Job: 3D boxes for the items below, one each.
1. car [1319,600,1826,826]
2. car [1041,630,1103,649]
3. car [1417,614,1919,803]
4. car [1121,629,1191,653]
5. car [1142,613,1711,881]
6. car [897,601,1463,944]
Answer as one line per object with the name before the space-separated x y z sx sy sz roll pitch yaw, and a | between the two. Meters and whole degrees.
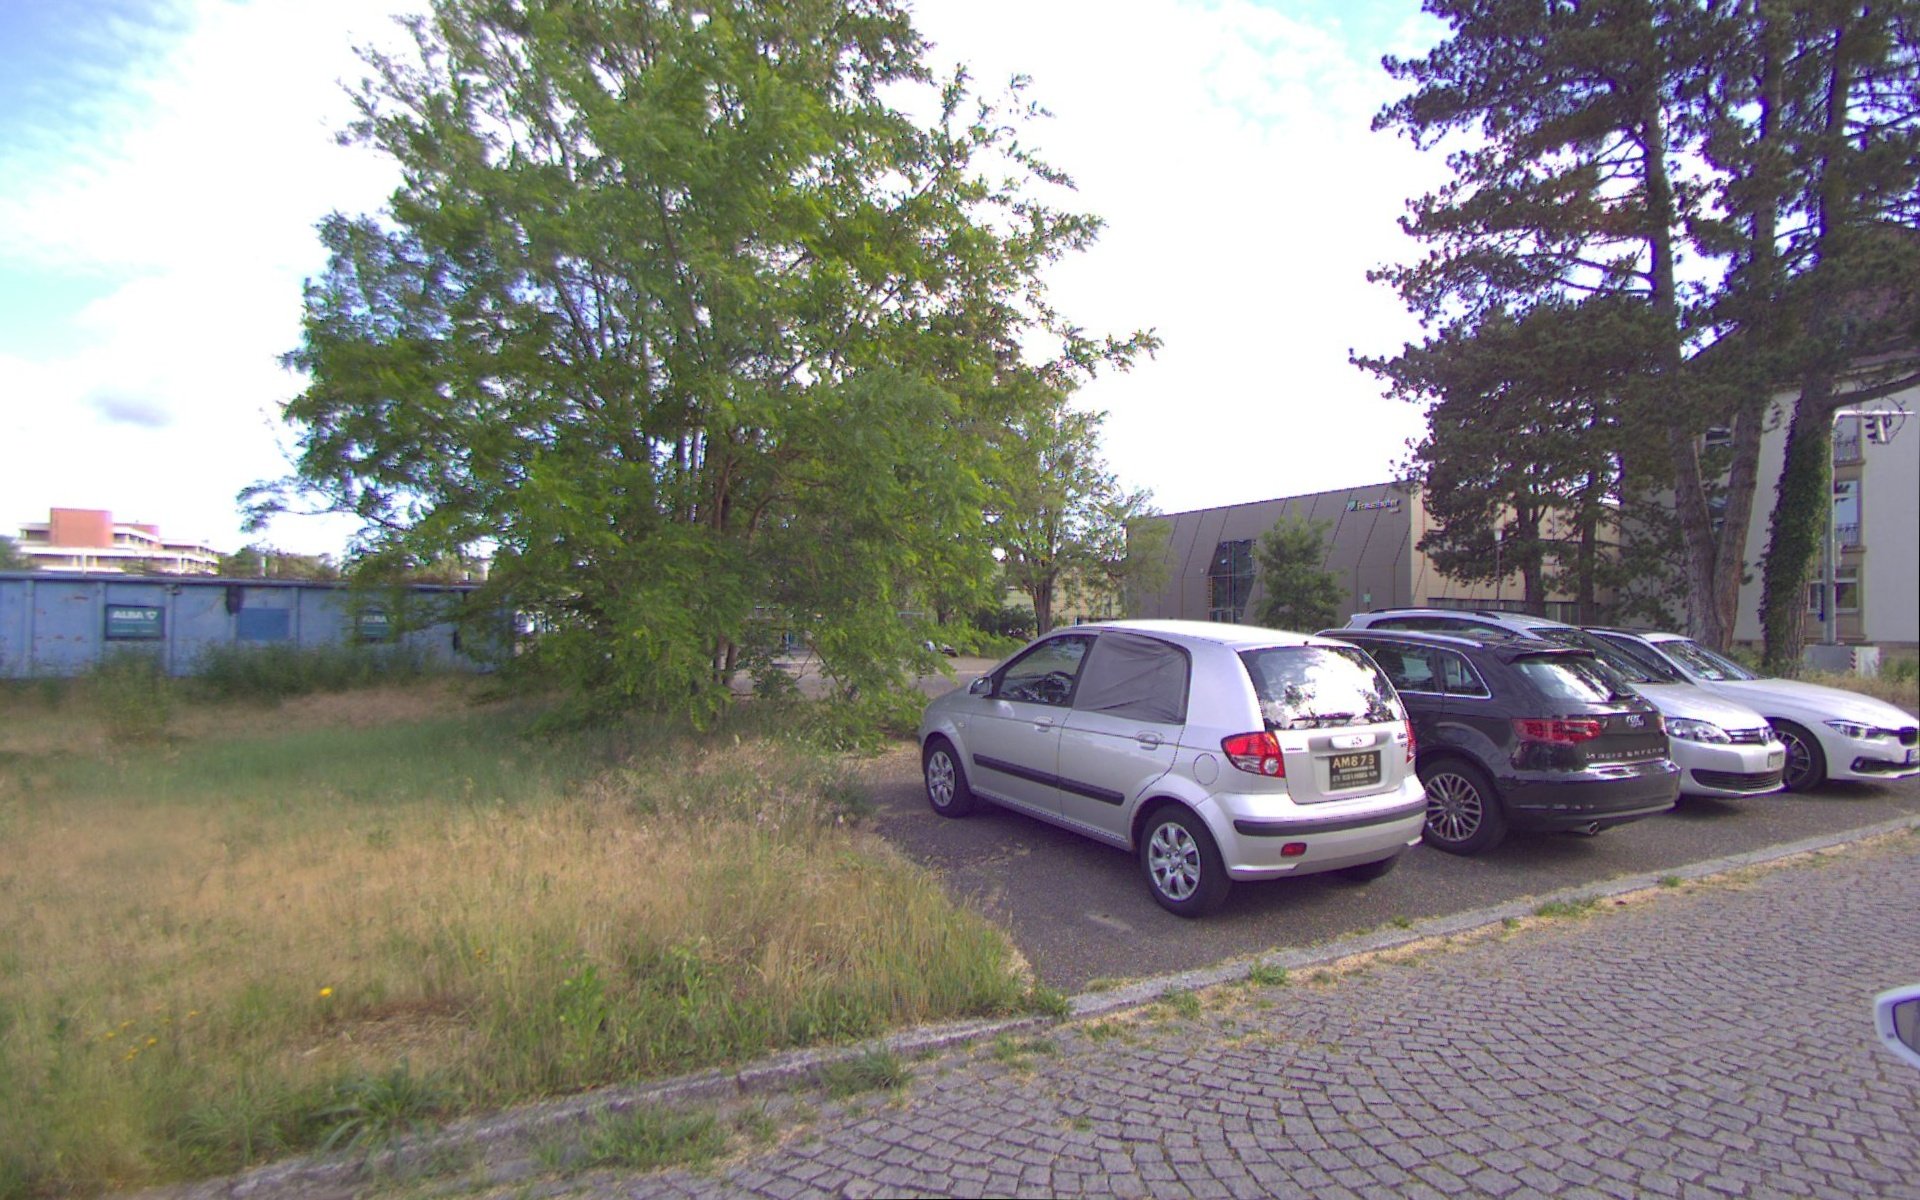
car | 5.619 0.874 9.708 1.716 1.629 3.811 1 1 -31
car | 7.856 2.788 70.302 4.142 1.289 1.601 1 -2 -26
car | 7.637 0.984 11.096 1.810 1.461 4.453 1 1 -32
car | 12.146 2.537 62.235 4.077 1.433 1.752 1 -2 -26
car | 3.340 0.894 7.960 1.675 1.427 3.818 1 1 -29
car | 1.135 0.821 6.617 1.628 1.495 3.558 1 1 -31
